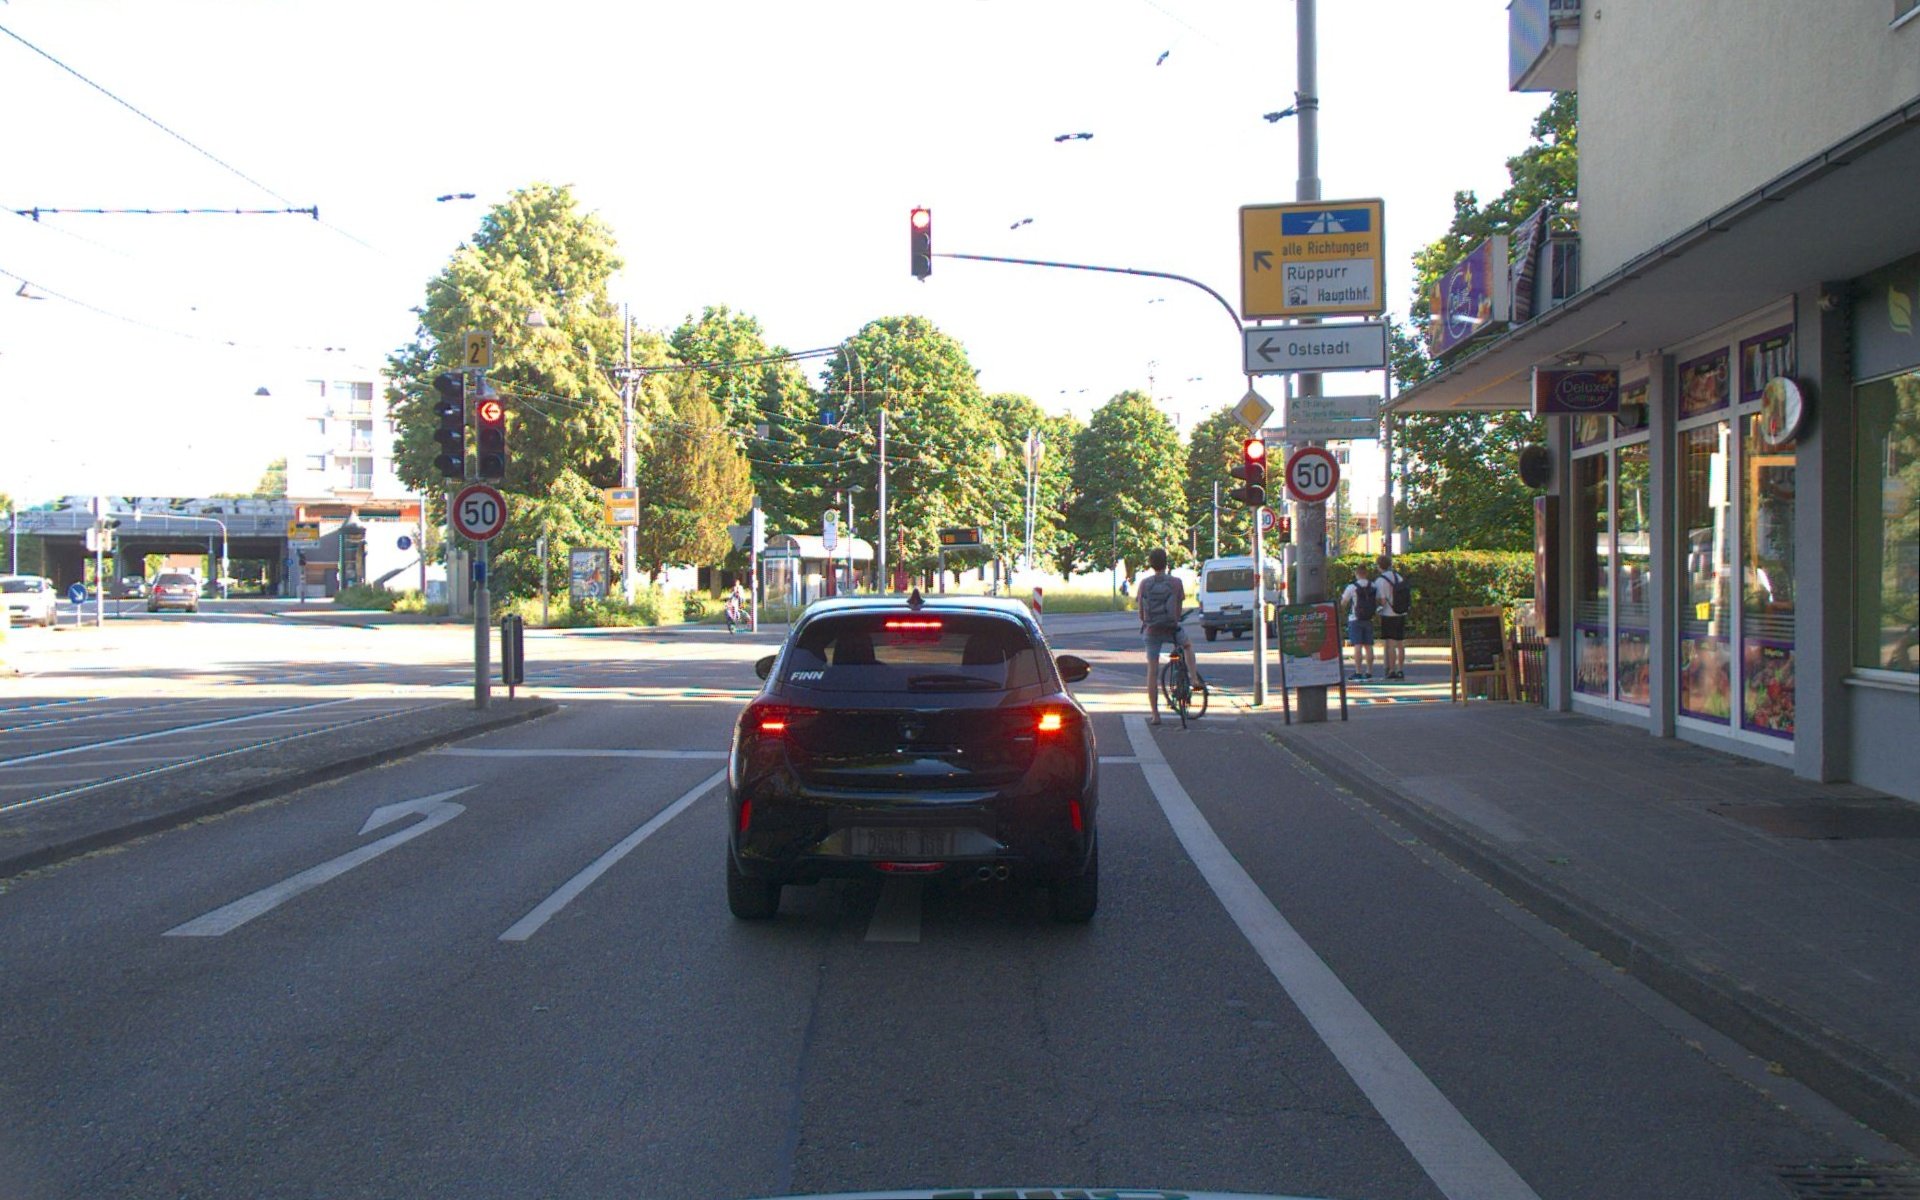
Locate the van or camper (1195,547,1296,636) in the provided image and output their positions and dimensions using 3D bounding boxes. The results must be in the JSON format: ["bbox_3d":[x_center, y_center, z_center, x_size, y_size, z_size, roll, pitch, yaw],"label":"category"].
[{"bbox_3d":[8.064,-0.224,46.392,1.987,2.351,4.540,1,0,20],"label":"van or camper"}]

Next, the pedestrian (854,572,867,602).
[{"bbox_3d":[-6.222,-0.809,103.183,0.723,1.904,0.661,1,-1,-7],"label":"pedestrian"}]

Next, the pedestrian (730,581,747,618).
[{"bbox_3d":[-8.943,-0.021,66.695,0.558,1.498,0.666,0,0,2],"label":"pedestrian"}]

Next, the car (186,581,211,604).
[{"bbox_3d":[-59.248,-0.570,128.763,1.732,1.713,3.712,1,0,-25],"label":"car"}]

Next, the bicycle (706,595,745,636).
[{"bbox_3d":[-6.527,0.414,46.113,0.780,1.083,2.184,0,1,-1],"label":"bicycle"}]

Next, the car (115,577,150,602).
[{"bbox_3d":[-55.497,-0.704,110.985,1.860,1.613,3.809,1,0,-24],"label":"car"}]

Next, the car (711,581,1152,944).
[{"bbox_3d":[-0.143,0.649,8.788,1.803,1.487,3.983,0,1,-1],"label":"car"}]

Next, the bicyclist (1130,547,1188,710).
[{"bbox_3d":[2.142,0.298,17.790,0.522,1.722,0.568,0,0,16],"label":"bicyclist"}]

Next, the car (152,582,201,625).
[{"bbox_3d":[-35.883,0.134,75.805,1.883,1.914,4.810,-1,1,-24],"label":"car"}]

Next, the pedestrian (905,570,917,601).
[{"bbox_3d":[-3.008,-0.882,100.919,0.607,1.904,0.520,1,-1,7],"label":"pedestrian"}]

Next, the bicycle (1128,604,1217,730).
[{"bbox_3d":[2.331,0.690,17.970,0.737,1.256,2.017,0,1,14],"label":"bicycle"}]

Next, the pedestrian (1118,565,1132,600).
[{"bbox_3d":[9.063,-0.969,90.873,0.595,1.904,0.516,1,-1,-21],"label":"pedestrian"}]

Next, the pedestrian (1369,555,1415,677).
[{"bbox_3d":[6.676,0.245,25.541,0.620,1.852,0.745,1,-1,19],"label":"pedestrian"}]

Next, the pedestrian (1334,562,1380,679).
[{"bbox_3d":[6.164,0.310,25.686,0.620,1.794,0.582,1,-1,19],"label":"pedestrian"}]

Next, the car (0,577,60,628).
[{"bbox_3d":[-31.126,0.071,54.845,1.860,1.613,3.809,1,0,-24],"label":"car"}]
